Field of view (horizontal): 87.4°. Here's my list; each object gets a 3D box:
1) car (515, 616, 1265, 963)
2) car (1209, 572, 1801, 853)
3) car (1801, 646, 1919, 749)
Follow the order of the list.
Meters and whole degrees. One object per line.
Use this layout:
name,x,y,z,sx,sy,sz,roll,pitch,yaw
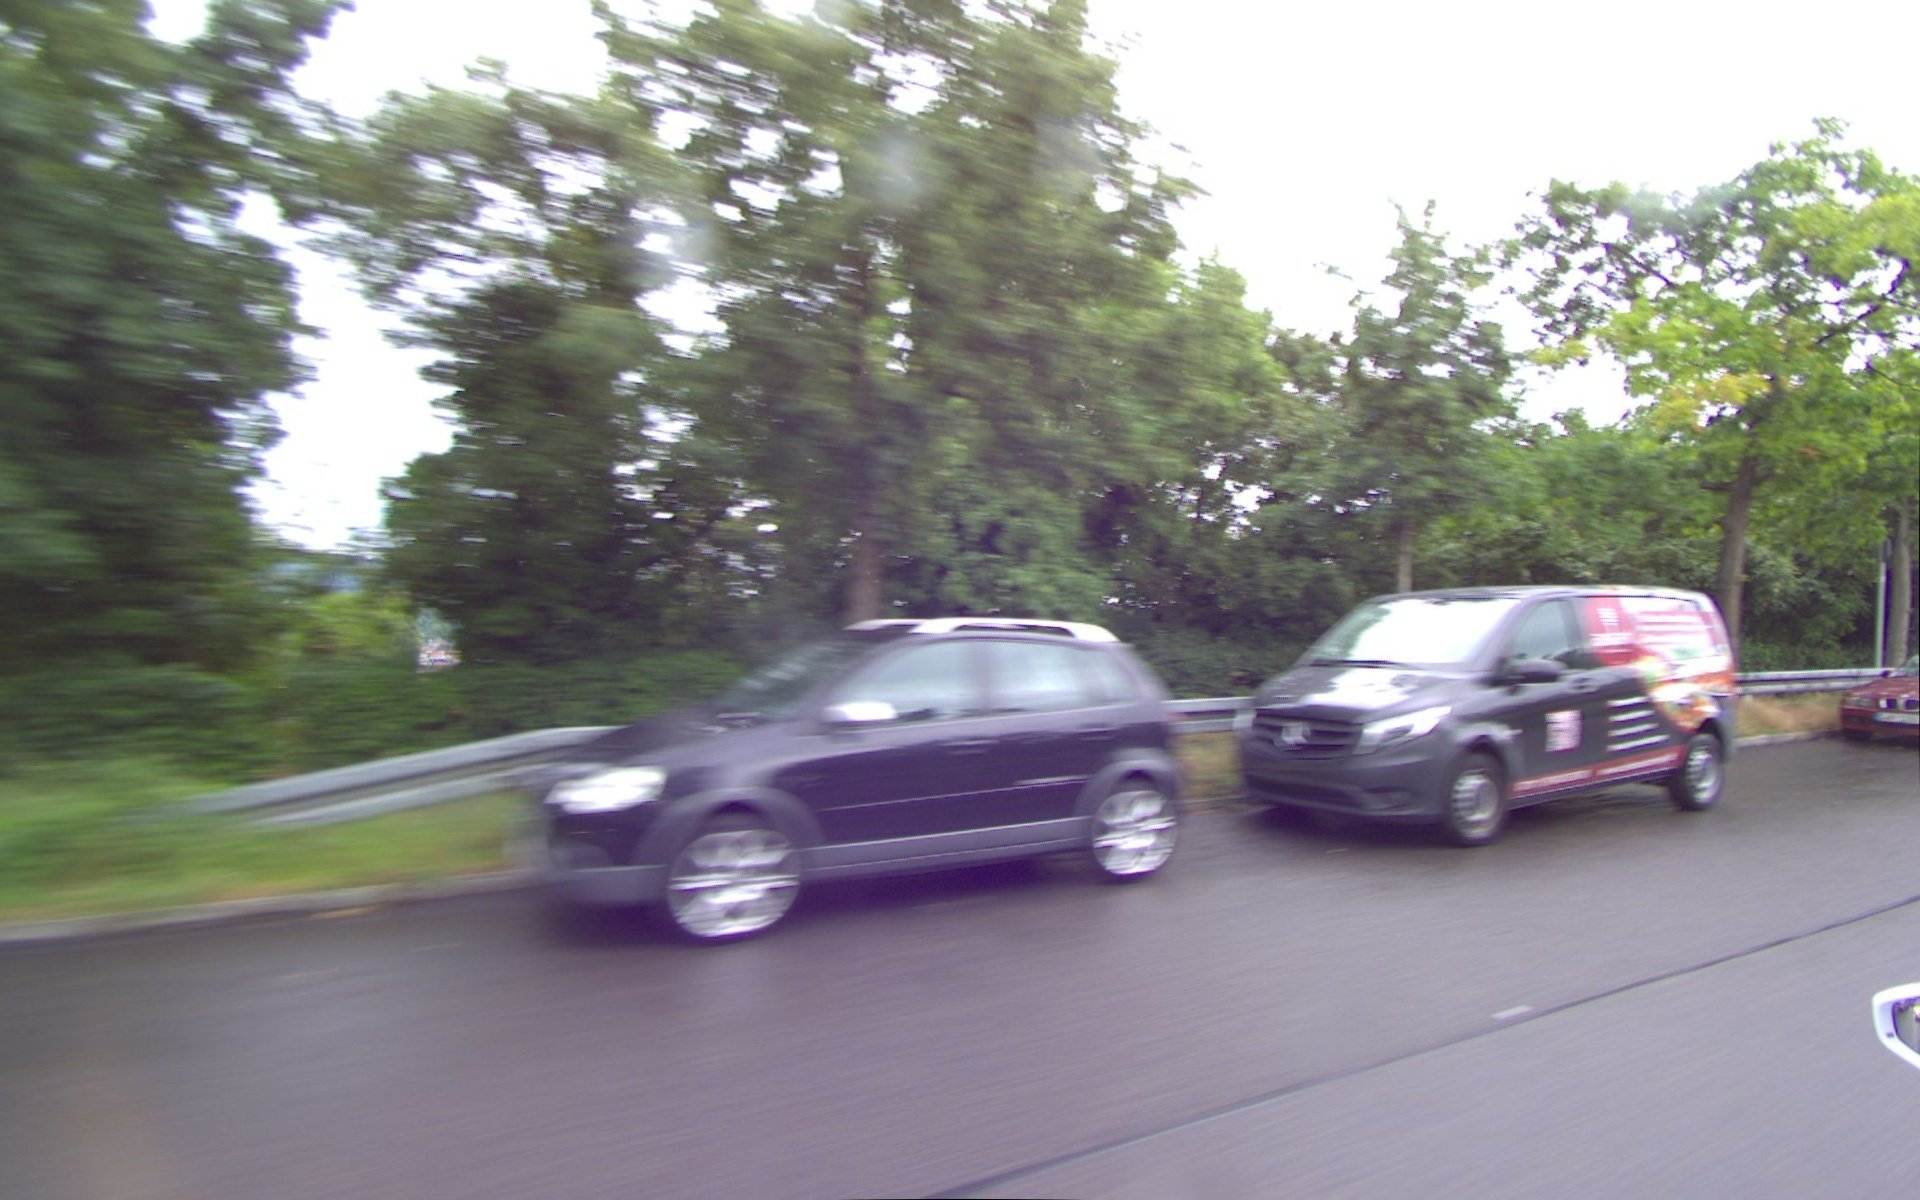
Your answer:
car,-0.299,0.882,6.096,4.207,1.456,1.789,2,-2,-31
car,4.894,0.843,8.824,5.315,1.843,2.075,2,-2,-29
car,14.056,1.331,14.244,4.271,1.314,1.783,2,-2,-28
